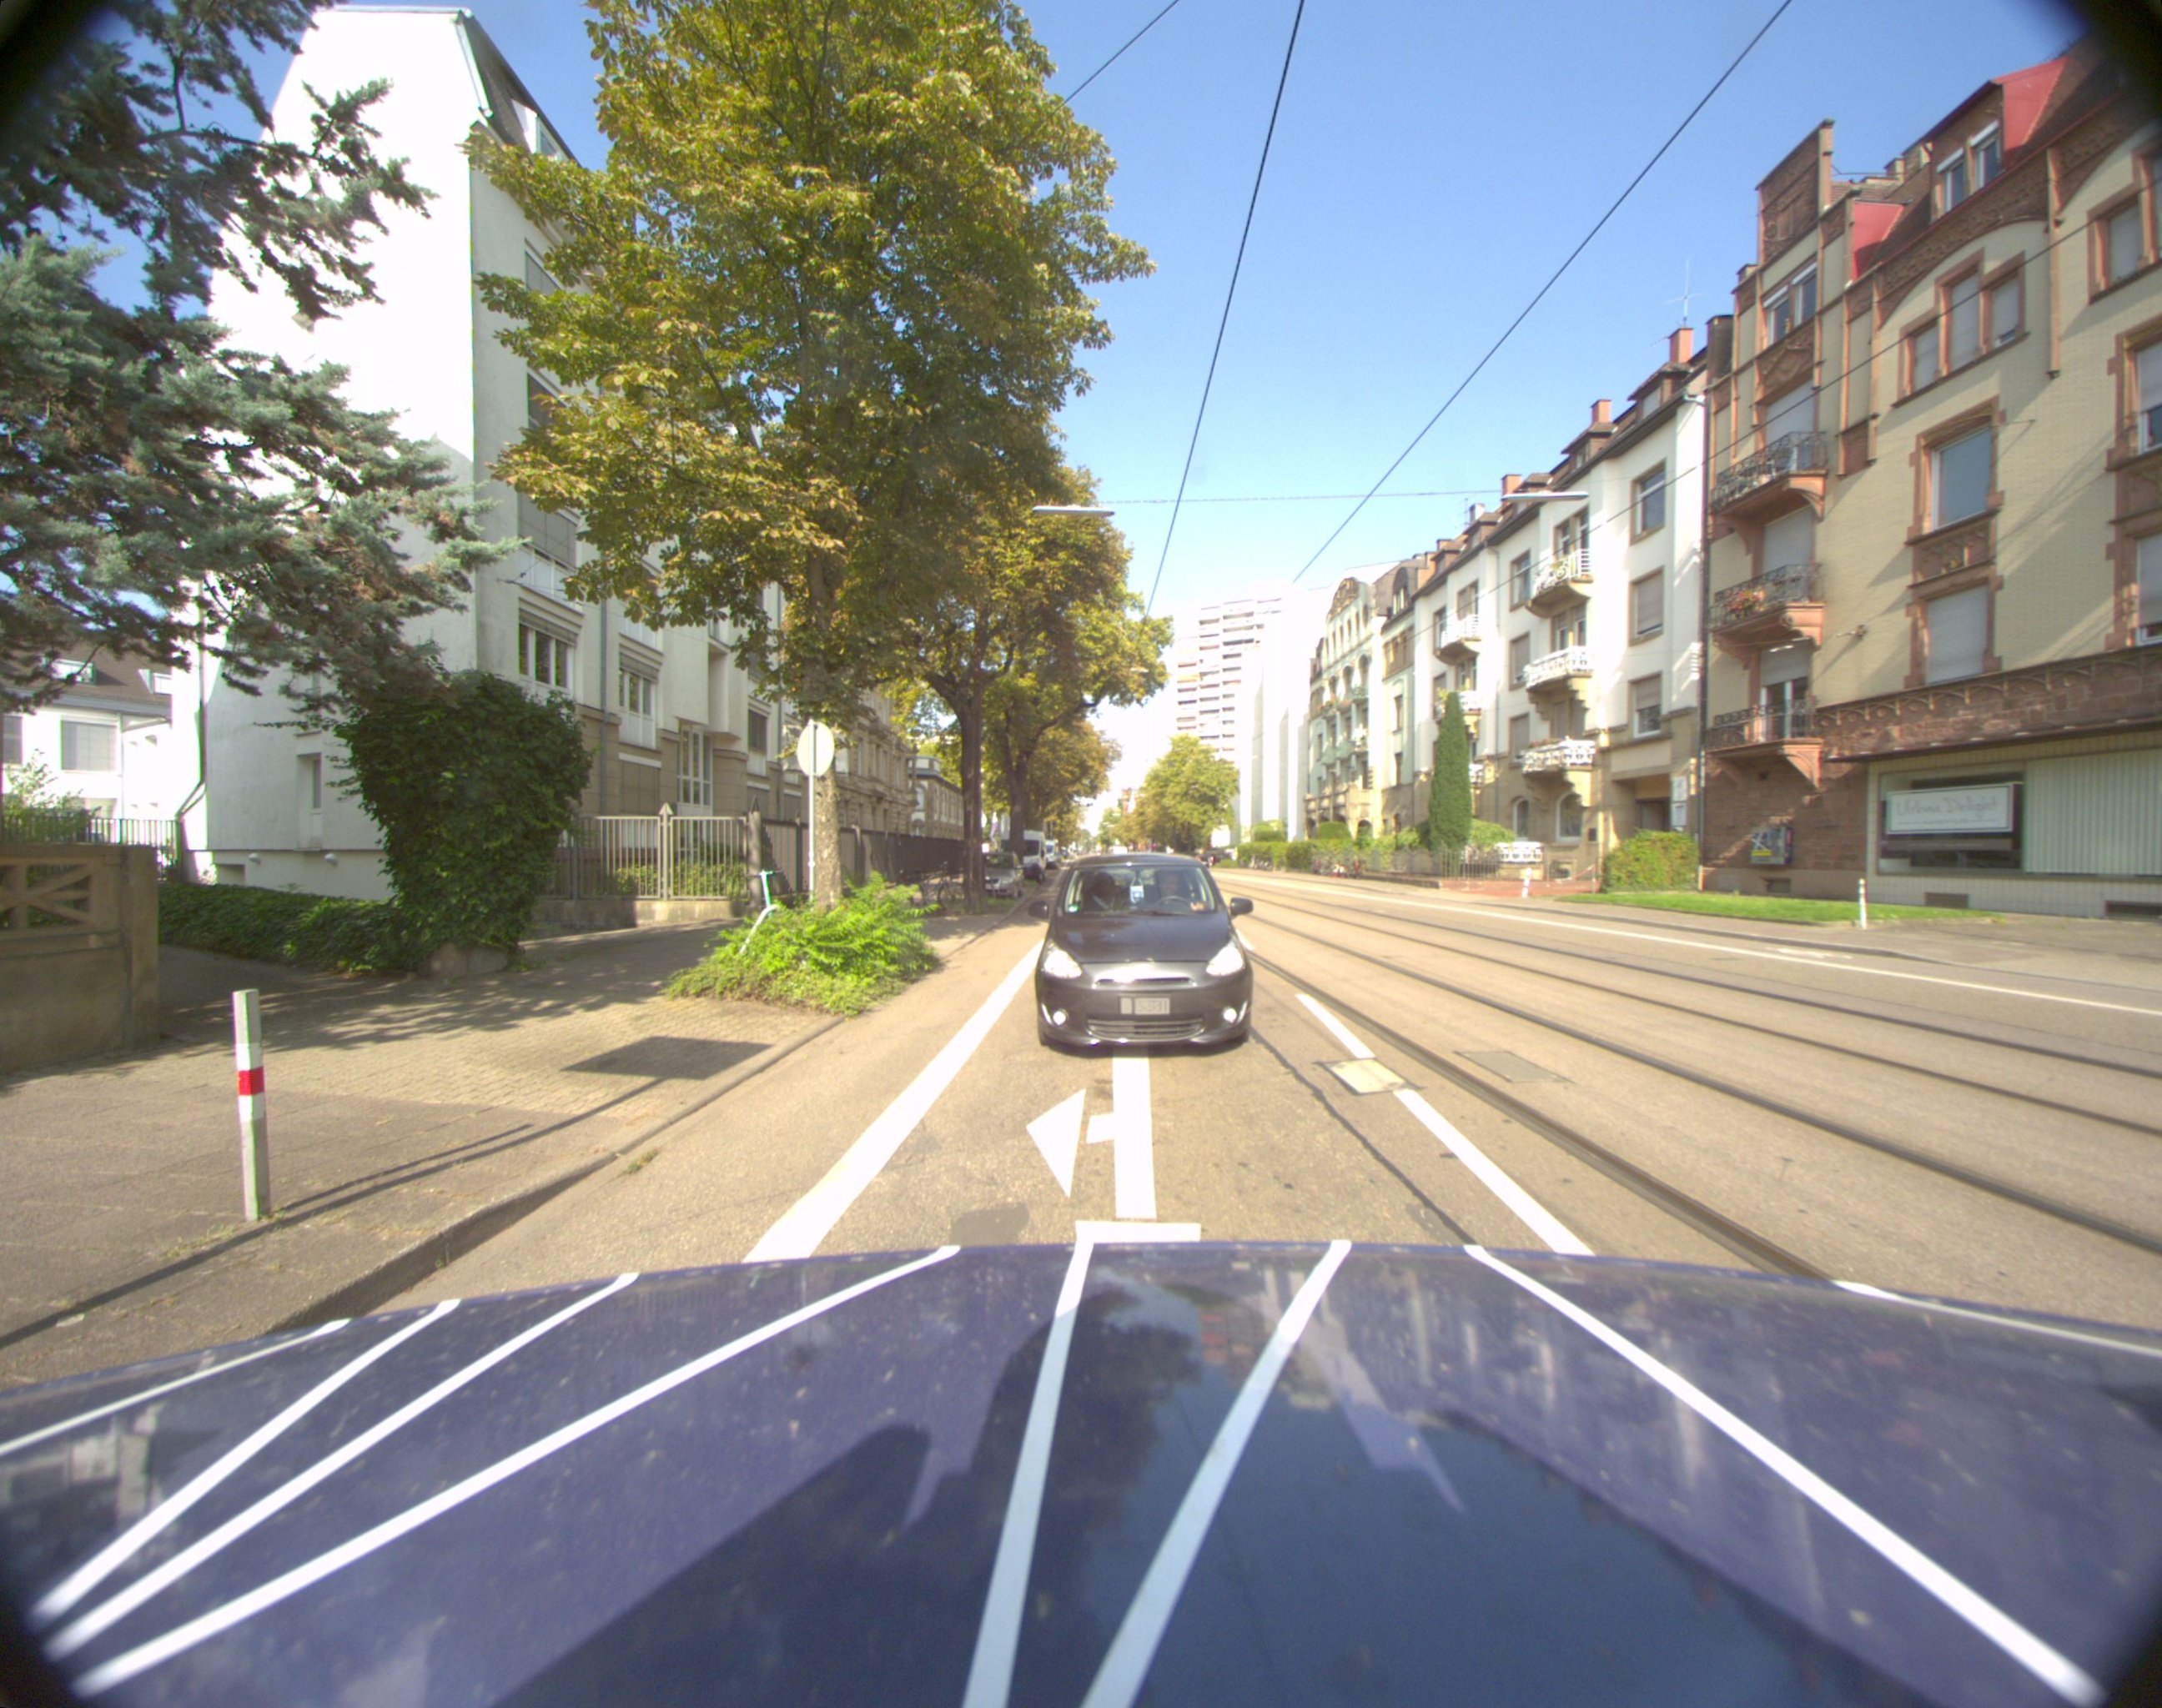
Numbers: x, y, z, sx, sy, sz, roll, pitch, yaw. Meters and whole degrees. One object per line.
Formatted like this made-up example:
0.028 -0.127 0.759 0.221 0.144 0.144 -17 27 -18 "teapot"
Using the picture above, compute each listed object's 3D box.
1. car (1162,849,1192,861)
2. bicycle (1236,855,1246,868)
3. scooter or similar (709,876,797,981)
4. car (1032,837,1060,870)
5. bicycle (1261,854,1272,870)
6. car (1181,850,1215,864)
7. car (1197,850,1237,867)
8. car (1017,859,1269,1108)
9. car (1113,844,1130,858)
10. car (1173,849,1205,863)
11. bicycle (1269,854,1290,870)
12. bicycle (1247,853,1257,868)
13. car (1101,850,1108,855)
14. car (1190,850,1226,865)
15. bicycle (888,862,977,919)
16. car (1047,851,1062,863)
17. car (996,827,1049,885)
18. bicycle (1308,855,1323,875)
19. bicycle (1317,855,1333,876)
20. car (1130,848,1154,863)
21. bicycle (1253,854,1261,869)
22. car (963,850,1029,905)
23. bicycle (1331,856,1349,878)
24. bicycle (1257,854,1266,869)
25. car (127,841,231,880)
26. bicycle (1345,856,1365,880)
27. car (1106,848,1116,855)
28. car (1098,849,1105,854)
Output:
12.015 0.135 95.158 1.767 1.518 4.009 1 1 41 "car"
12.746 0.575 60.591 0.425 0.972 1.770 0 1 -1 "bicycle"
-4.162 0.919 9.708 0.559 1.190 1.034 3 1 5 "scooter or similar"
-2.873 -0.059 63.299 1.998 2.526 5.867 2 0 0 "car"
12.785 0.571 52.341 0.425 1.081 1.677 0 1 4 "bicycle"
12.884 0.284 83.460 1.767 1.518 4.009 1 1 41 "car"
12.413 0.415 69.363 1.767 1.518 4.009 1 1 41 "car"
0.397 0.861 7.131 1.611 1.515 4.356 -1 1 0 "car"
5.894 -0.467 111.196 1.999 2.002 4.857 0 0 -3 "car"
12.300 0.235 86.310 1.767 1.518 4.009 1 1 41 "car"
13.410 0.549 51.339 1.397 1.081 0.425 0 1 -18 "bicycle"
12.882 0.506 57.258 0.425 1.081 1.676 0 1 2 "bicycle"
6.268 -0.314 203.683 1.757 1.349 3.788 0 0 1 "car"
12.729 0.332 75.995 1.767 1.518 4.009 1 1 41 "car"
-3.285 0.814 16.903 1.846 1.160 0.503 2 5 -40 "bicycle"
-3.137 0.335 91.653 1.757 1.349 3.787 0 0 -1 "car"
-2.679 0.072 36.323 2.051 2.484 6.228 1 0 0 "car"
13.071 0.611 42.329 0.371 1.081 1.355 0 1 -1 "bicycle"
13.030 0.615 40.558 0.371 1.081 1.355 0 1 -1 "bicycle"
6.323 0.139 79.241 1.877 1.446 4.543 3 0 -3 "car"
12.769 0.524 55.247 0.425 1.081 1.677 0 1 9 "bicycle"
-2.654 0.687 24.593 1.611 1.515 4.356 3 1 0 "car"
12.874 0.640 37.799 0.371 1.081 1.355 0 1 -1 "bicycle"
12.924 0.541 54.438 0.425 1.081 1.677 0 1 9 "bicycle"
-38.662 0.245 32.584 3.990 1.557 1.839 0 1 24 "car"
12.971 0.660 36.025 0.371 1.081 1.487 0 1 -1 "bicycle"
6.218 -0.585 159.398 1.701 1.395 4.645 -1 1 -1 "car"
5.809 -0.669 218.600 1.757 1.349 3.787 0 0 -1 "car"
